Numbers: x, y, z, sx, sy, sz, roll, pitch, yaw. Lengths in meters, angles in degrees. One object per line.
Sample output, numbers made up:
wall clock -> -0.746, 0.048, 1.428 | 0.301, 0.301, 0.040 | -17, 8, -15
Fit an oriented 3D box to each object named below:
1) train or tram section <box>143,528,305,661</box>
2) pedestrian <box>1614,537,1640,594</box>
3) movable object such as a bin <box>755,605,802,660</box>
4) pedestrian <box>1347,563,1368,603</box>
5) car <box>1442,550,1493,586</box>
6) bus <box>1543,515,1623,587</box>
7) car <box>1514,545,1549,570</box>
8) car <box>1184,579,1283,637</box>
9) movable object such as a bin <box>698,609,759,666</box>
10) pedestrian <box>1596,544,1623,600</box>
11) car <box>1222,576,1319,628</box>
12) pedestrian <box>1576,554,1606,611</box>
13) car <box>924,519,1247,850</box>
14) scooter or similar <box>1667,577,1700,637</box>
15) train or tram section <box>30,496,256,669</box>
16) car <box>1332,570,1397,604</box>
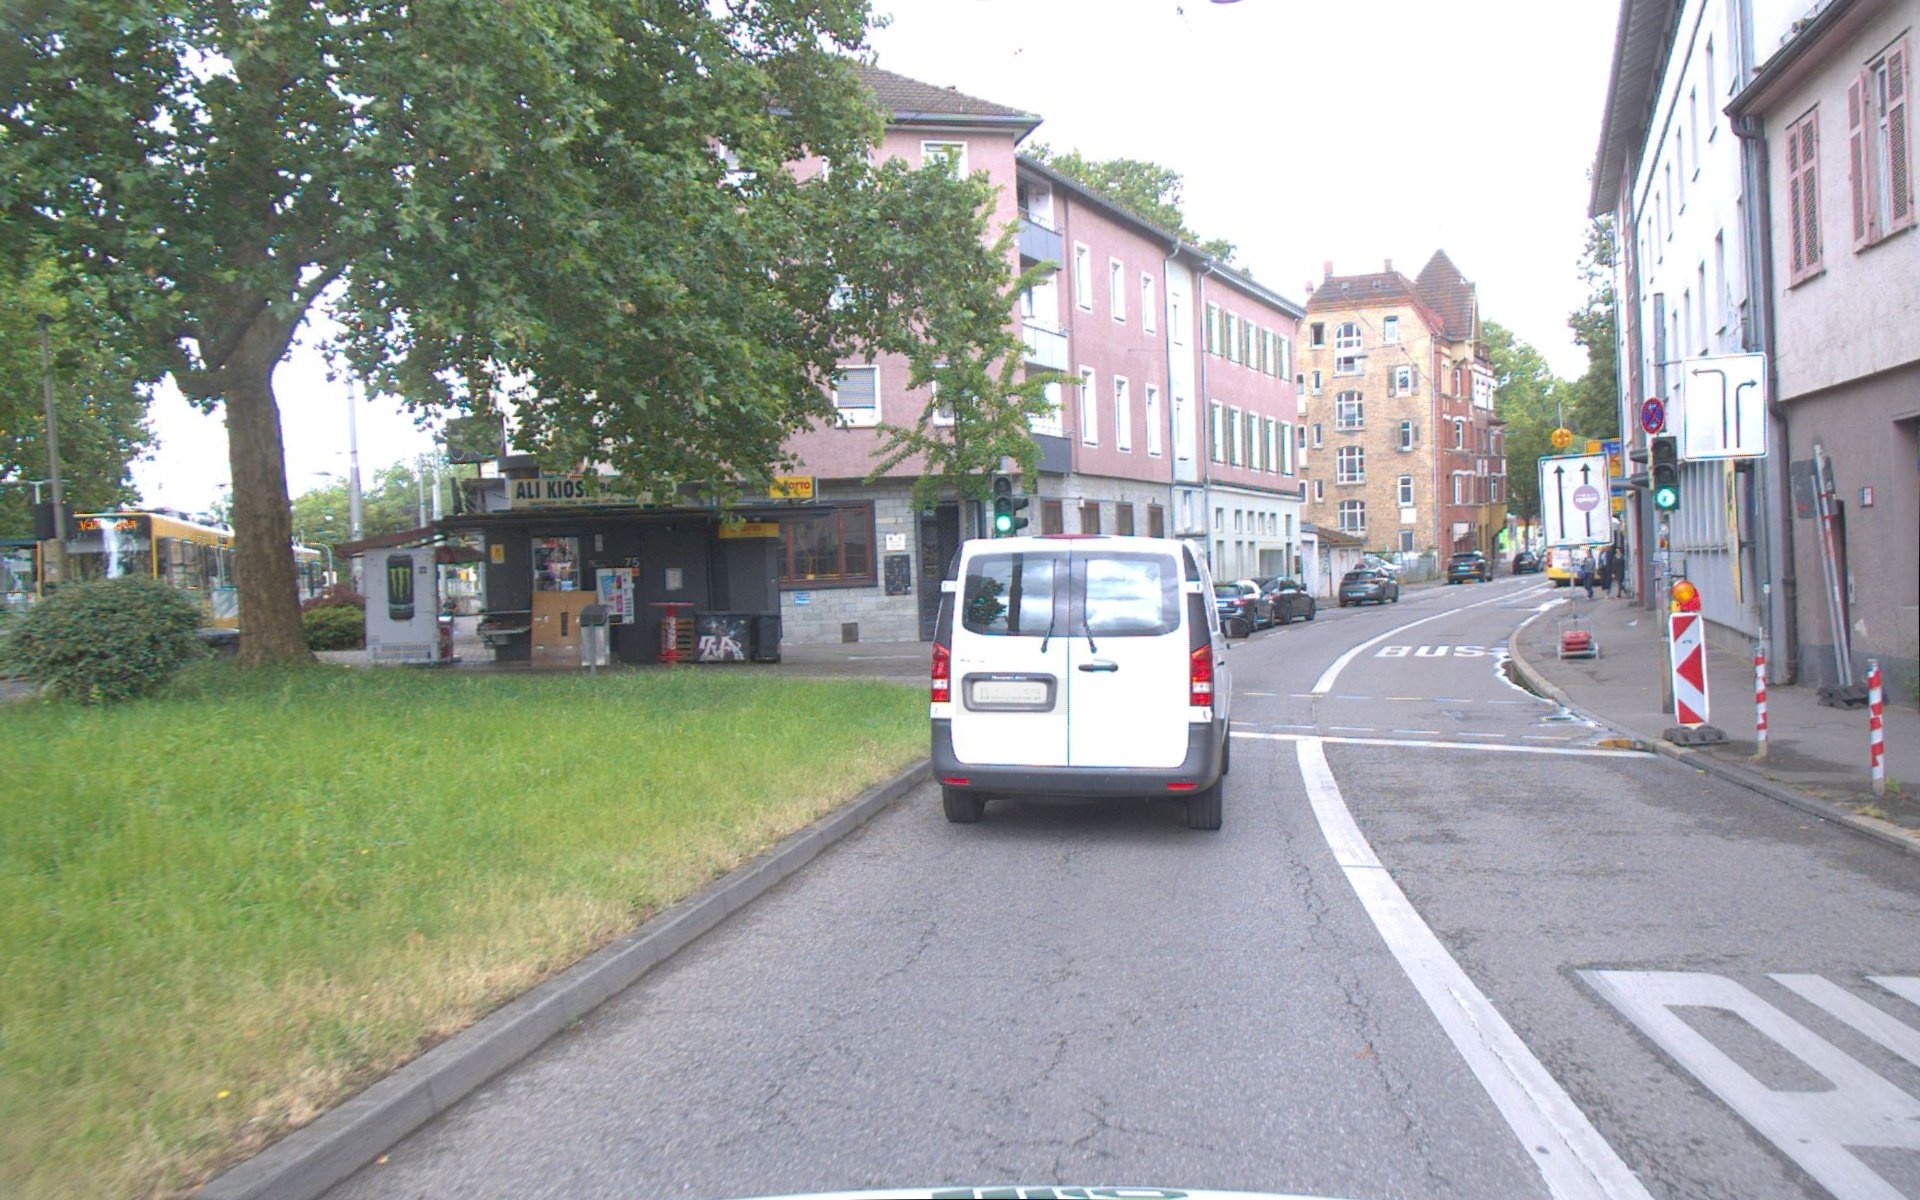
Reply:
train or tram section -> -22.928, -0.029, 52.144 | 2.867, 3.737, 10.961 | 1, -2, -15
pedestrian -> 21.572, -1.120, 53.495 | 0.533, 1.787, 0.607 | -4, 1, 33
movable object such as a bin -> -3.429, 0.612, 31.196 | 0.660, 0.981, 1.074 | 1, 1, -17
pedestrian -> 17.838, -0.776, 74.211 | 0.746, 1.774, 0.984 | 0, 1, 24
car -> 28.098, -1.795, 91.494 | 1.915, 1.764, 4.771 | -2, 2, 26
bus -> 29.711, -2.372, 78.669 | 2.610, 3.190, 10.032 | 0, 2, 26
car -> 39.933, -2.991, 115.596 | 1.691, 1.511, 4.387 | -1, 3, 27
car -> 7.850, 0.190, 47.157 | 1.791, 1.480, 4.584 | -2, 0, 22
movable object such as a bin -> -4.332, 0.696, 30.929 | 0.950, 0.981, 1.108 | 1, 1, -18
pedestrian -> 21.346, -0.928, 54.368 | 0.672, 1.787, 0.879 | -5, 1, 20
car -> 9.881, 0.031, 52.314 | 1.793, 1.480, 4.918 | -2, 0, 25
pedestrian -> 21.159, -0.602, 55.479 | 0.786, 1.824, 0.943 | -5, 1, 20
car -> 1.131, 0.475, 12.140 | 1.876, 1.934, 4.706 | 1, 0, 10
scooter or similar -> 14.563, 0.133, 33.300 | 0.419, 1.116, 1.440 | -4, 1, 19
train or tram section -> -20.125, -0.260, 41.552 | 2.867, 3.737, 10.961 | 1, -2, -15
car -> 16.409, -0.521, 66.996 | 1.953, 1.312, 3.999 | 0, 0, 23
